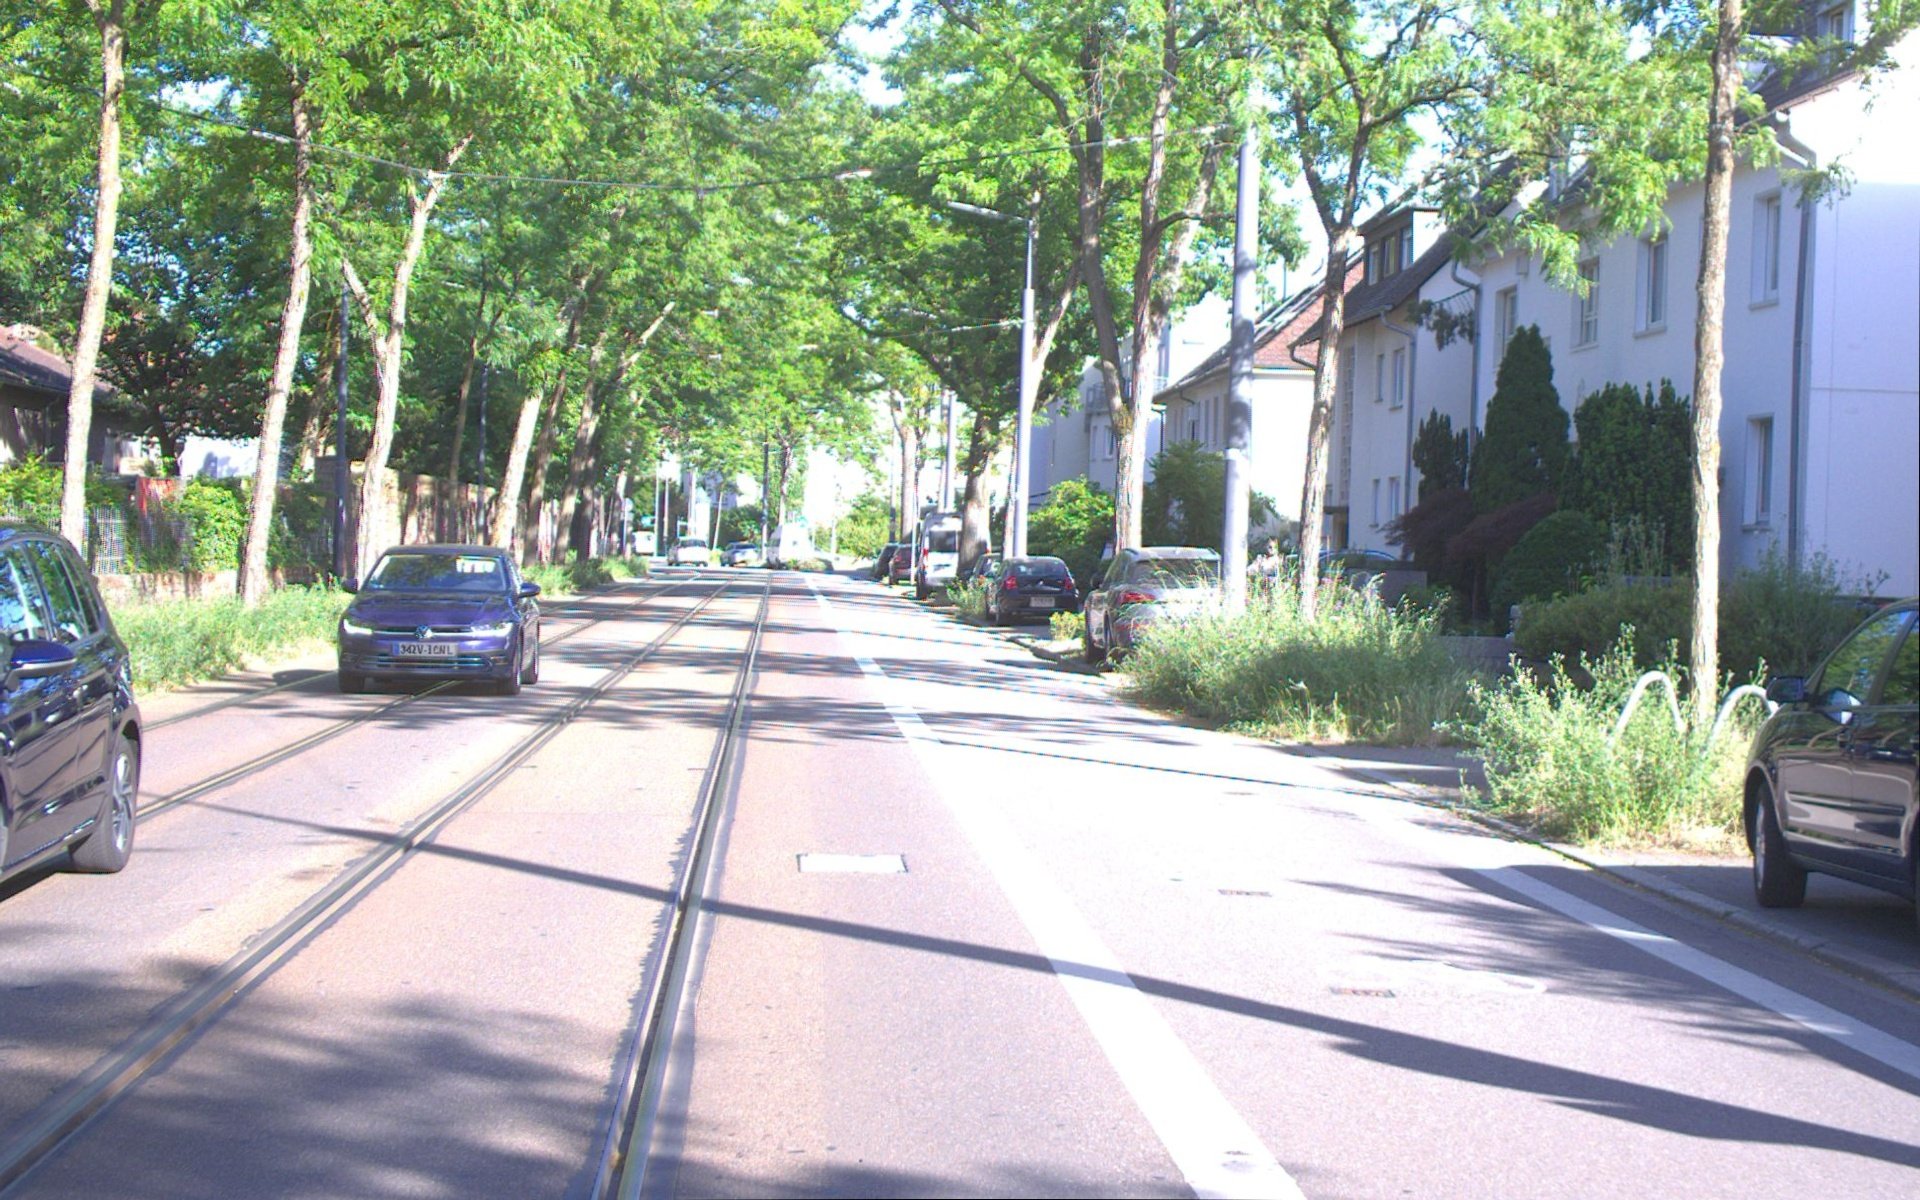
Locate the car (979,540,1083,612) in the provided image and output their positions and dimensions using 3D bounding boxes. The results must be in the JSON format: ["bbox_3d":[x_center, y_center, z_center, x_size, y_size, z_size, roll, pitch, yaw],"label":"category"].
[{"bbox_3d":[1.486,-0.543,73.529,1.783,1.443,4.302,-1,1,-4],"label":"car"}]

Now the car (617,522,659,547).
[{"bbox_3d":[-24.105,-4.894,257.205,2.002,1.903,4.393,0,1,-20],"label":"car"}]

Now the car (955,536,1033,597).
[{"bbox_3d":[0.807,-0.826,83.159,1.627,1.393,3.646,-1,1,-3],"label":"car"}]

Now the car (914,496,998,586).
[{"bbox_3d":[-0.166,-1.790,104.564,2.245,2.645,5.586,0,1,-3],"label":"car"}]

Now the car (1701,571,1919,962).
[{"bbox_3d":[4.566,0.661,14.621,1.748,1.490,3.997,1,1,-3],"label":"car"}]

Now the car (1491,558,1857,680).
[{"bbox_3d":[8.789,0.221,42.520,4.050,1.338,1.878,2,1,-3],"label":"car"}]

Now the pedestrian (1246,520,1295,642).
[{"bbox_3d":[4.799,-0.304,53.156,0.625,1.864,0.732,-1,1,-4],"label":"pedestrian"}]

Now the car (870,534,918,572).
[{"bbox_3d":[-2.931,-2.116,154.203,2.003,1.669,4.392,0,1,1],"label":"car"}]

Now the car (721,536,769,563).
[{"bbox_3d":[-12.984,-3.038,207.498,2.002,1.555,4.394,1,1,-15],"label":"car"}]

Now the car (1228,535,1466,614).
[{"bbox_3d":[7.522,-0.509,67.120,4.421,1.484,1.858,-1,1,0],"label":"car"}]

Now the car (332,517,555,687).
[{"bbox_3d":[-5.057,-0.012,34.110,1.748,1.519,4.070,2,1,-3],"label":"car"}]

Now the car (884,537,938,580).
[{"bbox_3d":[-1.963,-1.649,136.620,2.002,1.669,4.393,0,1,-3],"label":"car"}]

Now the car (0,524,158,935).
[{"bbox_3d":[-4.465,0.437,13.669,1.748,1.519,4.036,2,1,-3],"label":"car"}]

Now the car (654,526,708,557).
[{"bbox_3d":[-15.440,-3.240,189.960,1.865,1.669,4.174,1,1,-20],"label":"car"}]

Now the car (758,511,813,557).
[{"bbox_3d":[-9.642,-3.656,189.774,1.993,2.449,4.510,1,1,-16],"label":"car"}]

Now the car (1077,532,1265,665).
[{"bbox_3d":[2.824,-0.062,47.000,1.993,1.698,4.478,-1,1,-4],"label":"car"}]
